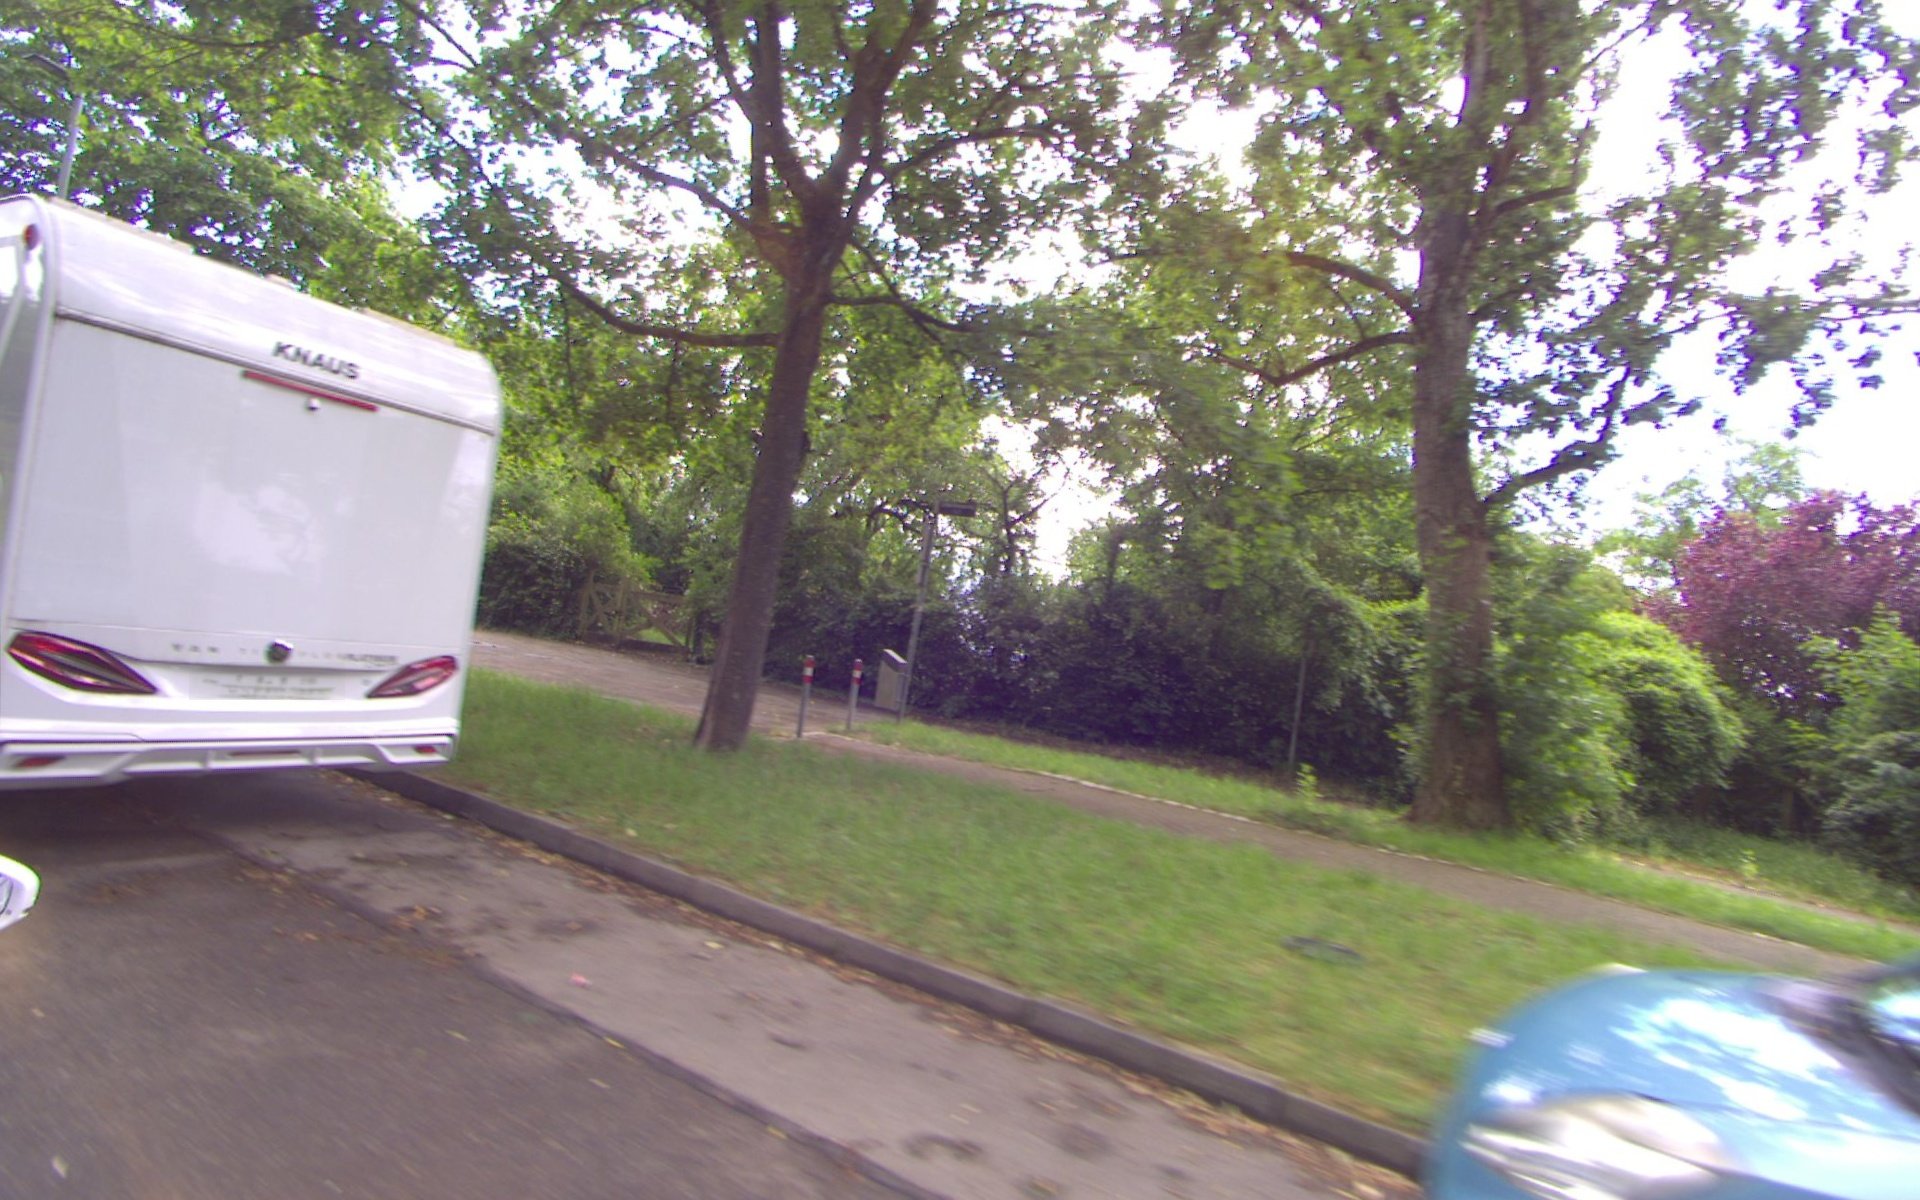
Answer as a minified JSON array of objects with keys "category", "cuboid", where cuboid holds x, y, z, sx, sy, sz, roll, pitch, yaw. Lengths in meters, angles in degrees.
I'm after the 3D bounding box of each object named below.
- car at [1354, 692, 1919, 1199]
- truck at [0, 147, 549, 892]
[{"category":"car","cuboid":[2.675,1.221,1.451,3.706,1.565,1.699,7,-2,32]},{"category":"truck","cuboid":[-6.158,-0.614,6.670,6.913,2.968,2.308,8,0,30]}]
